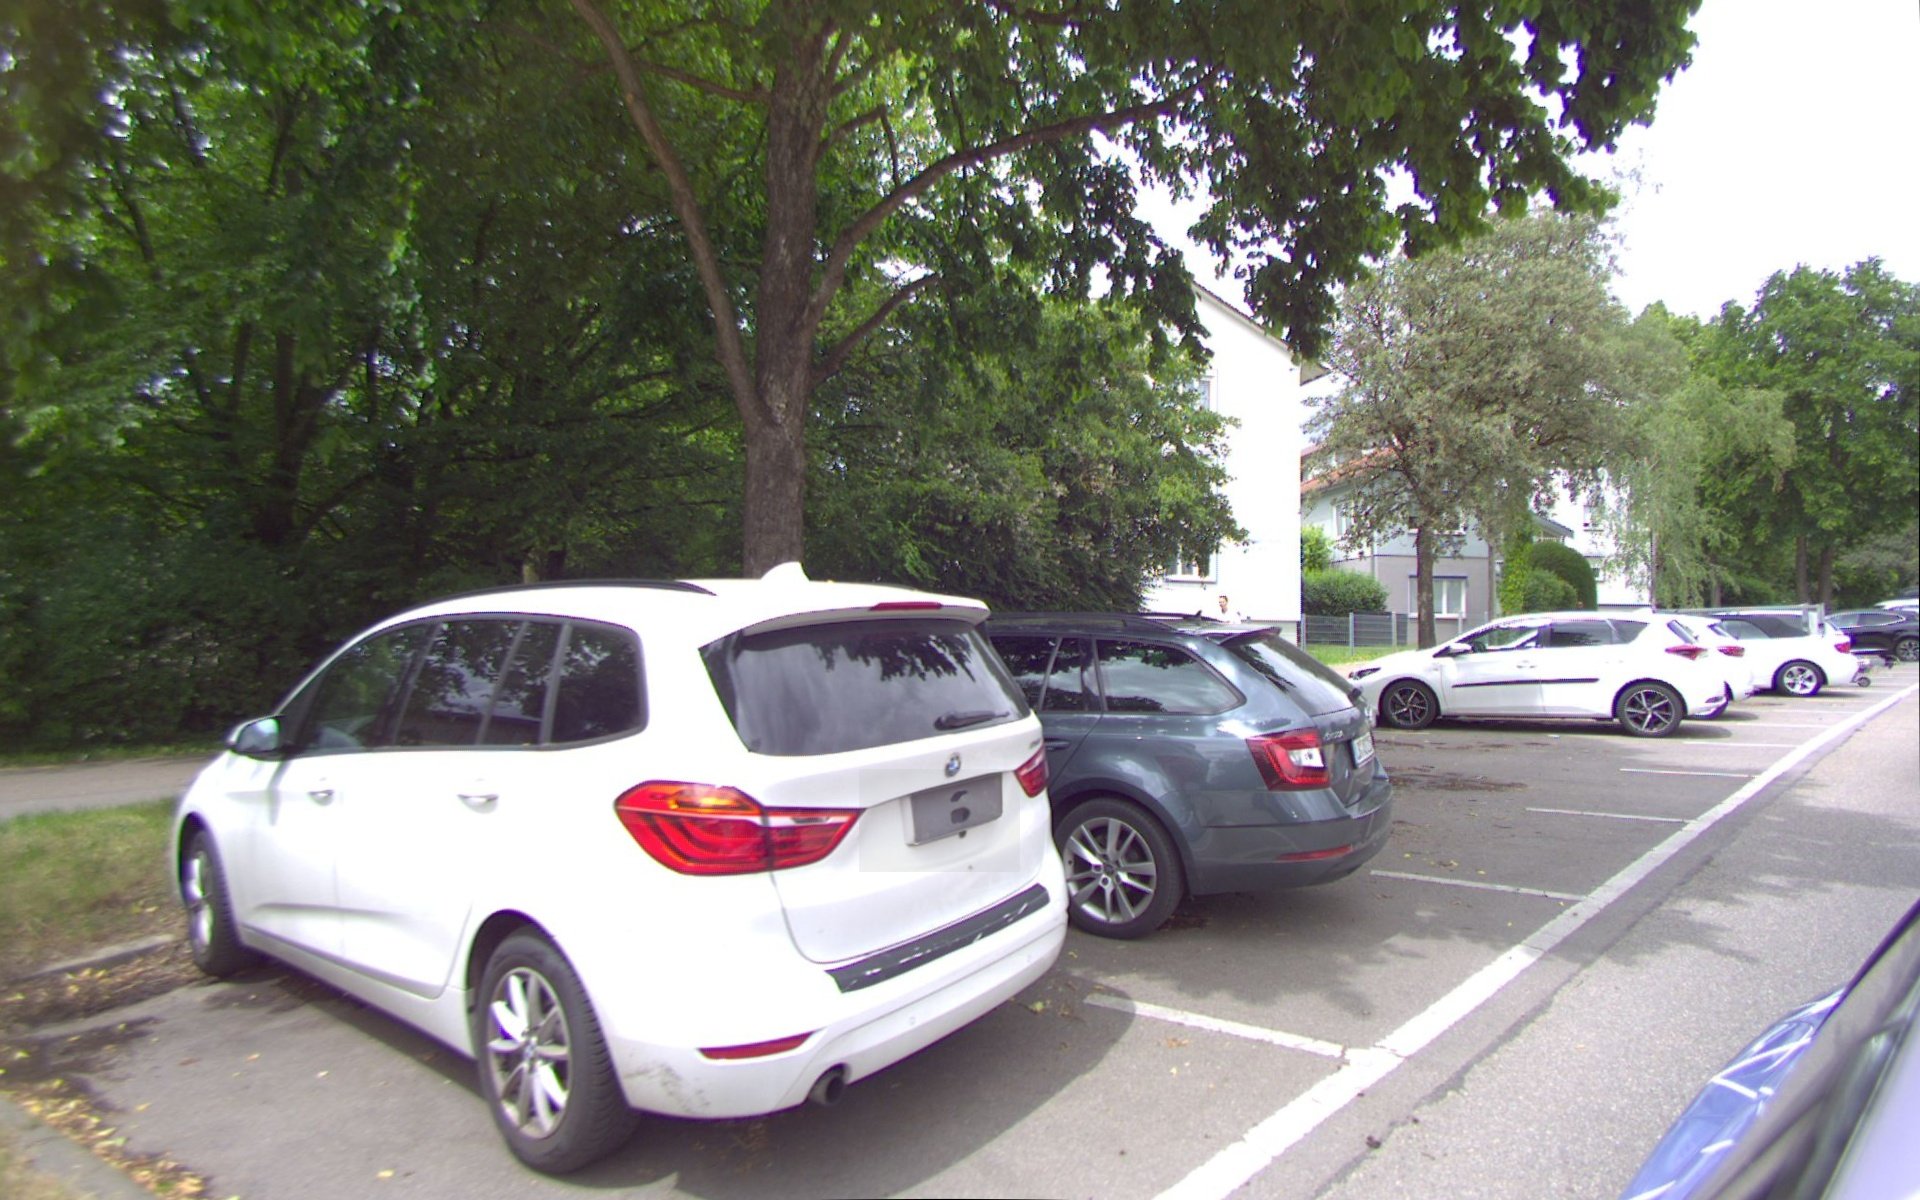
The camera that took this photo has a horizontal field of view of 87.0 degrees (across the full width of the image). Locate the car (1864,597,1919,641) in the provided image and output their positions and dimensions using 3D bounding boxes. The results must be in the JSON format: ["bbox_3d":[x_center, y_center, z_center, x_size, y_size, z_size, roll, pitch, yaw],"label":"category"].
[{"bbox_3d":[37.855,0.704,39.349,3.834,1.664,1.828,-2,-1,37],"label":"car"}]

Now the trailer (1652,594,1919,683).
[{"bbox_3d":[15.951,0.701,19.717,3.970,1.572,1.639,-1,-1,33],"label":"trailer"}]

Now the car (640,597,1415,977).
[{"bbox_3d":[0.248,0.786,5.834,4.114,1.483,1.778,-2,-1,32],"label":"car"}]

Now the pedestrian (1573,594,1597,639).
[{"bbox_3d":[21.710,0.566,35.163,0.688,1.523,0.770,-1,-1,31],"label":"pedestrian"}]

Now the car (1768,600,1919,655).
[{"bbox_3d":[25.483,0.781,28.591,3.817,1.452,1.700,-2,-1,27],"label":"car"}]

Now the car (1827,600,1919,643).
[{"bbox_3d":[33.073,0.731,35.544,3.834,1.457,1.693,-2,-1,37],"label":"car"}]

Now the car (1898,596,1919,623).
[{"bbox_3d":[58.704,0.530,60.307,3.826,1.578,1.637,-2,-1,32],"label":"car"}]

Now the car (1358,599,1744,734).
[{"bbox_3d":[7.393,0.782,12.987,3.968,1.483,1.845,-2,-1,32],"label":"car"}]

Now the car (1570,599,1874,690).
[{"bbox_3d":[13.413,0.781,18.145,3.955,1.483,1.835,-2,-1,24],"label":"car"}]

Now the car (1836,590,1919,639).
[{"bbox_3d":[35.500,0.508,37.506,4.180,1.781,1.842,-2,-1,27],"label":"car"}]

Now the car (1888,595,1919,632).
[{"bbox_3d":[40.198,0.508,40.849,3.834,1.453,1.633,-2,-1,37],"label":"car"}]

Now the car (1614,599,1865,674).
[{"bbox_3d":[16.658,0.784,21.902,3.961,1.483,1.774,-2,-1,28],"label":"car"}]

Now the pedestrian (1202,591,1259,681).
[{"bbox_3d":[5.142,0.667,19.266,0.762,1.665,0.695,0,-1,-21],"label":"pedestrian"}]

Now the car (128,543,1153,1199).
[{"bbox_3d":[-1.655,0.742,4.218,4.457,1.606,1.881,-2,-1,38],"label":"car"}]

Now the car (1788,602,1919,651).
[{"bbox_3d":[28.746,0.848,32.149,3.484,1.483,1.697,-2,-1,31],"label":"car"}]

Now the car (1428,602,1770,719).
[{"bbox_3d":[9.169,0.824,14.790,3.972,1.483,1.774,-2,-1,35],"label":"car"}]
